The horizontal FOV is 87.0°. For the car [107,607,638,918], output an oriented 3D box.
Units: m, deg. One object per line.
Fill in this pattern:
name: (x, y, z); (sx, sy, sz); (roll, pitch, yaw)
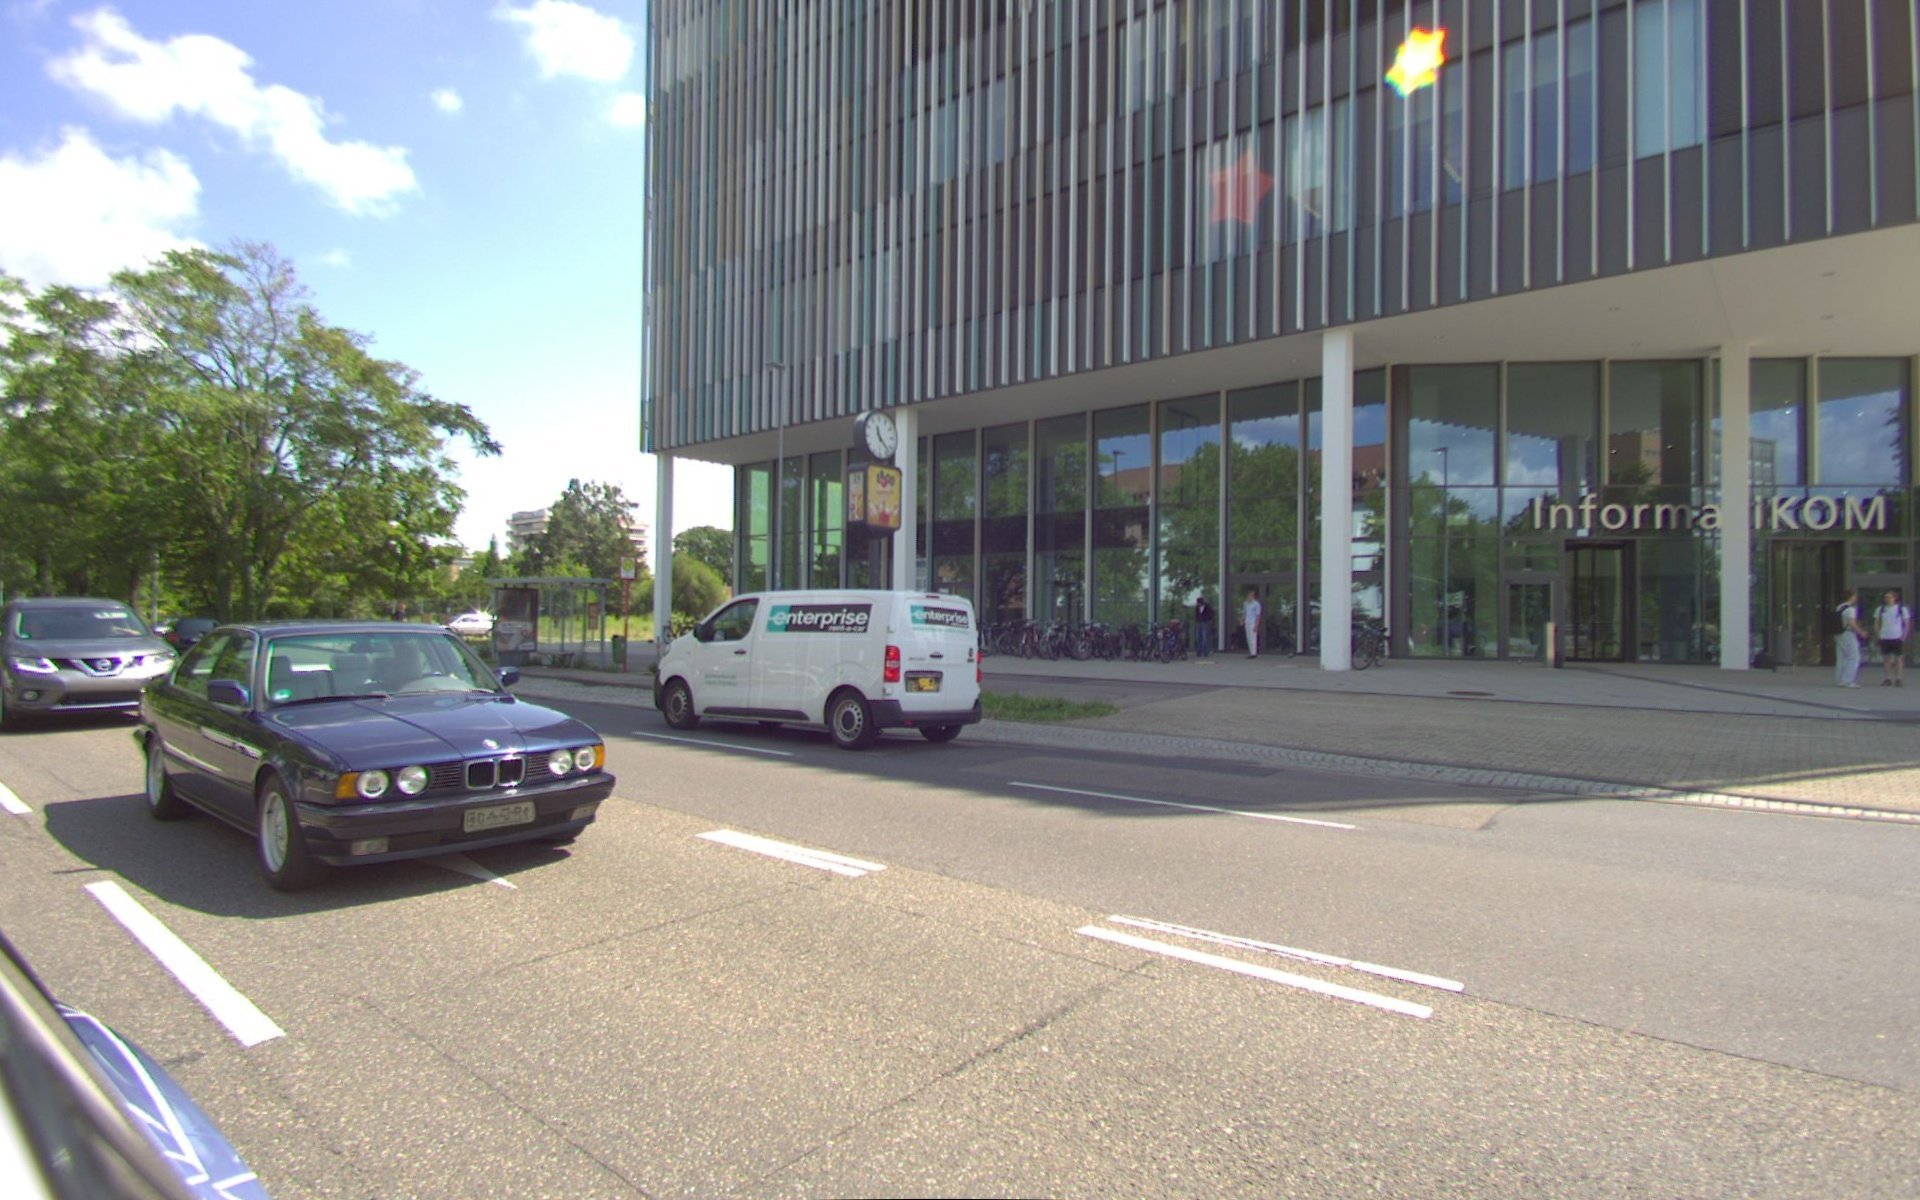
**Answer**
car: (-4.134, 0.760, 6.727); (4.612, 1.397, 1.674); (-1, -1, 41)

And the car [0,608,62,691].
car: (-18.134, 0.881, 18.913); (1.804, 1.426, 4.193); (0, 0, -45)

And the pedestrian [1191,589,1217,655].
pedestrian: (6.943, 0.618, 28.785); (0.553, 1.856, 0.556); (0, 0, 33)

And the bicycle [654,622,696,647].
bicycle: (-11.908, 1.419, 42.334); (0.433, 0.962, 1.761); (-1, 0, 40)

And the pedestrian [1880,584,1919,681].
pedestrian: (18.435, 0.624, 19.714); (0.680, 1.856, 0.679); (0, -1, -42)

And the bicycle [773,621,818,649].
bicycle: (-6.077, 1.284, 37.458); (0.433, 0.962, 1.761); (-1, 0, 40)

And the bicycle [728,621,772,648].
bicycle: (-8.060, 1.318, 38.866); (0.433, 0.962, 1.761); (-1, 0, 40)

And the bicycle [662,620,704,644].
bicycle: (-11.482, 1.320, 41.986); (0.433, 0.962, 1.761); (-1, 0, 40)

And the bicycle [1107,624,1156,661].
bicycle: (4.759, 1.161, 28.034); (1.521, 0.962, 0.374); (-1, 0, -35)

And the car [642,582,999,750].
car: (-1.947, 0.796, 13.251); (4.726, 1.825, 1.879); (-1, -3, 38)

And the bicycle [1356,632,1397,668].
bicycle: (9.909, 1.171, 24.049); (0.374, 0.782, 1.524); (-1, 0, 44)

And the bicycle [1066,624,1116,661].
bicycle: (3.712, 1.192, 28.655); (1.521, 0.962, 0.374); (-1, 0, -35)

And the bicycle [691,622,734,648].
bicycle: (-9.898, 1.396, 40.530); (0.433, 0.962, 1.761); (-1, 0, 40)

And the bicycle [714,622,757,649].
bicycle: (-8.789, 1.377, 39.661); (0.433, 0.962, 1.761); (-1, 0, 40)

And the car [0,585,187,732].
car: (-12.234, 0.717, 13.832); (4.476, 1.691, 1.800); (-1, -1, 41)

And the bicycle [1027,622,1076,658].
bicycle: (2.647, 1.151, 29.282); (1.521, 0.962, 0.374); (-1, 0, -35)

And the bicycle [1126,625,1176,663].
bicycle: (5.207, 1.197, 27.516); (1.521, 0.962, 0.374); (-1, 0, -35)

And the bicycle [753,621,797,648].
bicycle: (-6.948, 1.284, 38.028); (0.433, 0.962, 1.761); (-1, 0, 40)

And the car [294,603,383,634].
car: (-33.338, 0.963, 54.326); (3.771, 1.522, 1.901); (-1, 1, -44)

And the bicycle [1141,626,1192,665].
bicycle: (5.534, 1.197, 27.031); (1.521, 0.962, 0.374); (-1, 0, -35)

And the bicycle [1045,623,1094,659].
bicycle: (3.128, 1.149, 28.840); (1.521, 0.962, 0.374); (-1, 0, -35)

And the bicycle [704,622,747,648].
bicycle: (-9.280, 1.364, 40.099); (0.433, 0.962, 1.761); (-1, 0, 40)

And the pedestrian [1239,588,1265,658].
pedestrian: (7.946, 0.619, 27.544); (0.553, 1.856, 0.556); (0, 0, 33)

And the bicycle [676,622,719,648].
bicycle: (-10.655, 1.413, 41.192); (0.433, 0.962, 1.761); (-1, 0, 40)

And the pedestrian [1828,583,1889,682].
pedestrian: (17.212, 0.613, 19.386); (0.775, 1.856, 0.519); (0, 0, -15)
